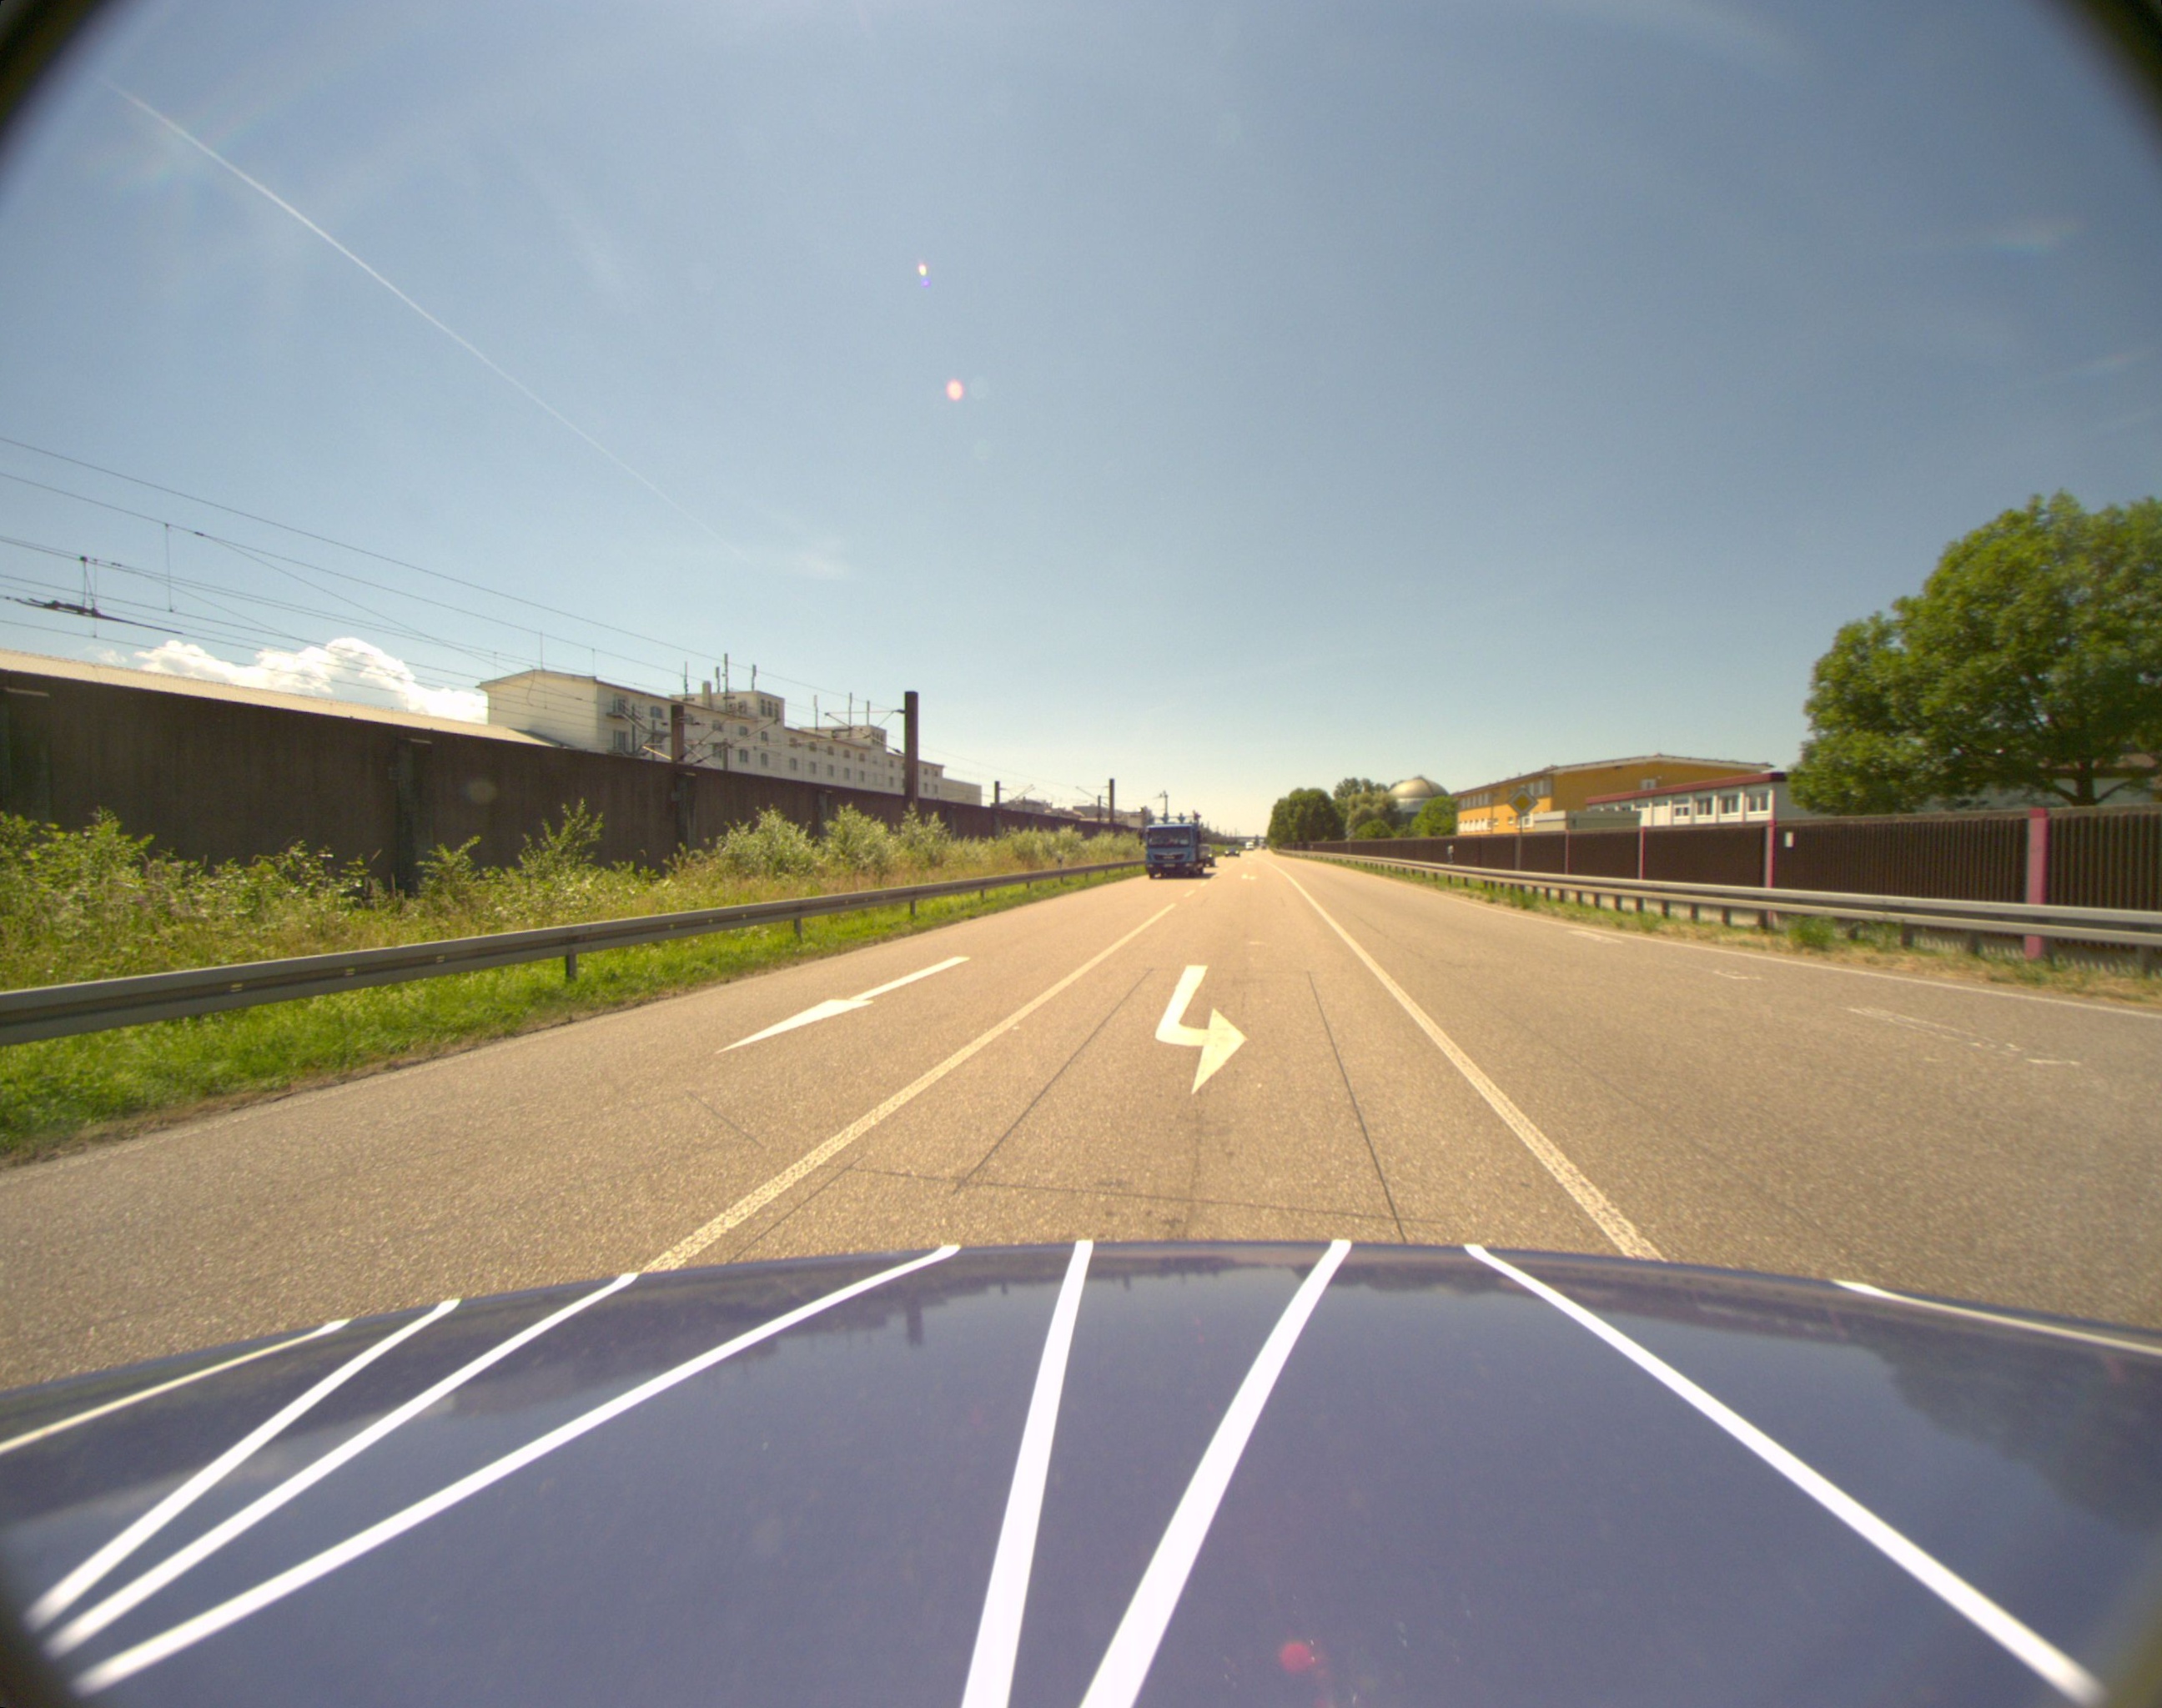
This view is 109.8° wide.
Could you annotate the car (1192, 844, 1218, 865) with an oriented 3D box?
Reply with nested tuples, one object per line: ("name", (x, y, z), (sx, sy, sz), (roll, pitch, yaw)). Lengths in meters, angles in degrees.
("car", (9.206, 0.001, 56.036), (1.728, 1.465, 4.179), (0, 1, 11))

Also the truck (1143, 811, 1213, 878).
("truck", (5.353, -0.533, 40.066), (2.614, 3.024, 10.664), (0, 1, 13))

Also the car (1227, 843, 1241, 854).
("car", (20.546, -0.771, 102.191), (1.728, 1.465, 3.893), (0, 1, 13))

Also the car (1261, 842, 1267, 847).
("car", (61.429, -3.172, 254.635), (1.890, 1.730, 4.780), (-1, 1, 12))
